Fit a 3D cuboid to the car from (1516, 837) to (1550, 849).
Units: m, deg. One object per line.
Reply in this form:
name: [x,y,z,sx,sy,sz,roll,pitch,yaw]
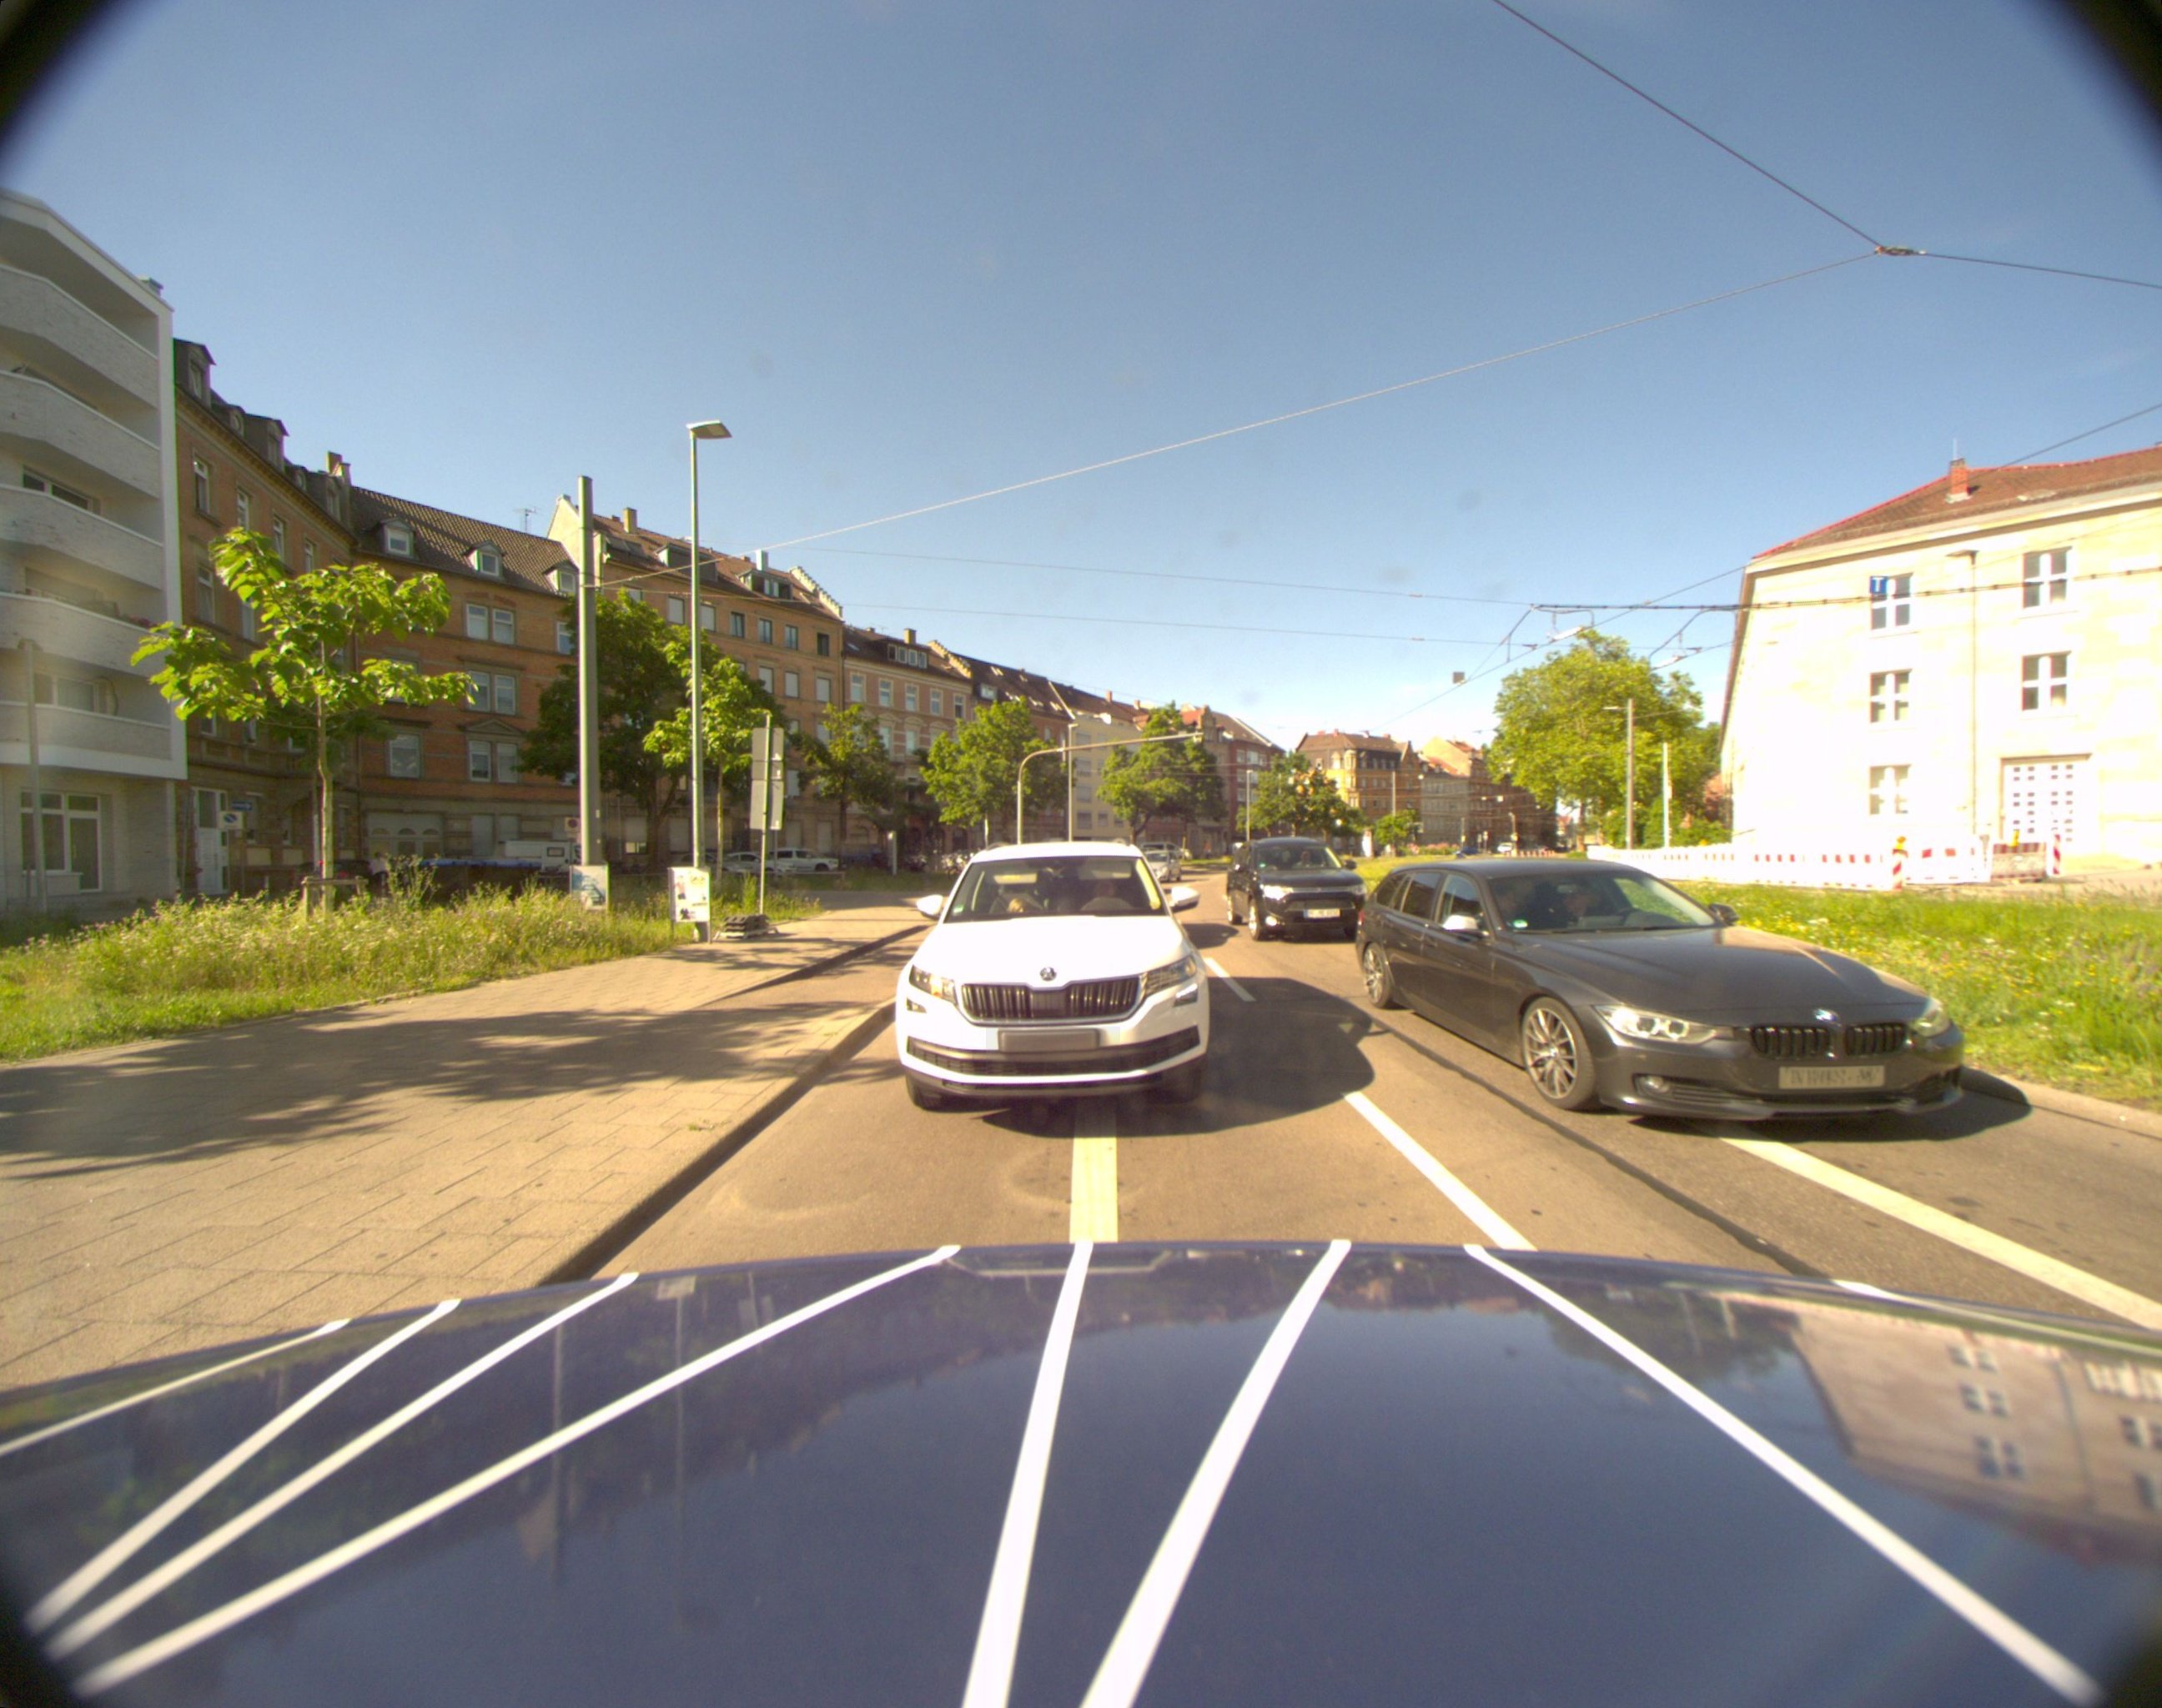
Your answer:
car: [64.134,-1.607,107.846,4.058,1.647,1.770,1,2,34]

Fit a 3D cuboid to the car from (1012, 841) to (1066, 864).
car: [-3.104,-0.135,56.102,3.825,1.698,1.682,0,1,3]

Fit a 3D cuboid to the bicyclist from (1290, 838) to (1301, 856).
bicyclist: [20.041,-0.666,70.984,0.629,1.619,0.973,0,1,36]

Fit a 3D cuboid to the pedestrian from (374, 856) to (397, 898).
pedestrian: [-24.715,0.813,27.018,0.509,1.448,0.481,-3,2,-38]

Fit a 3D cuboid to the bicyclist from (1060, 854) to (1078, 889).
bicyclist: [-0.495,0.717,31.721,0.668,1.428,0.940,-1,1,5]

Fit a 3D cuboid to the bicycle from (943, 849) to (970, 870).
bicycle: [-7.682,0.342,46.758,0.664,1.260,2.199,-3,1,-36]

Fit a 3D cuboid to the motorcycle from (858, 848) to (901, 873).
motorcycle: [-11.176,0.376,42.205,2.200,1.322,0.663,-2,1,13]

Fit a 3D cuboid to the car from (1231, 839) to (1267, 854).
car: [18.699,-0.819,84.655,3.823,1.581,1.600,0,1,6]

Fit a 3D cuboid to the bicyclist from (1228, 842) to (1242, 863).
bicyclist: [12.441,-0.111,61.349,0.714,1.715,1.096,1,1,39]

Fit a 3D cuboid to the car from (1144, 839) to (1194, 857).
car: [8.202,-0.587,70.606,4.578,1.658,1.600,0,1,7]

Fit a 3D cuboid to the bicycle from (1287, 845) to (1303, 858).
bicycle: [19.974,-0.247,70.906,0.636,1.190,2.158,0,1,36]

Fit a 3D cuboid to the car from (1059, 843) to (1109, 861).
car: [0.264,-0.158,61.162,3.823,1.398,1.600,0,1,6]

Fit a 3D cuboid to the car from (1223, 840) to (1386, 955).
car: [3.699,0.628,13.396,1.841,1.636,4.399,-2,0,5]

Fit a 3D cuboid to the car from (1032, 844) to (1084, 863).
car: [-1.772,-0.052,58.710,3.823,1.398,1.600,0,1,6]

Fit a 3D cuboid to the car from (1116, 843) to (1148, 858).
car: [5.473,-0.421,80.725,1.547,1.578,3.607,1,2,41]

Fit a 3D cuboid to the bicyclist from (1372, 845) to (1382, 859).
bicyclist: [34.196,-0.220,87.775,0.667,1.619,0.973,0,1,43]

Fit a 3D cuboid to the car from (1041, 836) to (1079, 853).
car: [-1.935,-0.941,71.663,1.547,1.578,3.607,1,2,41]

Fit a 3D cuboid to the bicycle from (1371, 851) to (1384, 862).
bicycle: [34.289,0.316,87.844,0.667,1.190,2.159,0,1,43]

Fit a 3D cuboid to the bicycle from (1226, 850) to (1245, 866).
bicycle: [12.507,0.324,61.401,0.714,1.319,1.753,1,1,39]

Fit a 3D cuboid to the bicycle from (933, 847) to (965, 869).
bicycle: [-7.726,0.242,44.516,0.664,1.260,2.198,-3,1,-45]

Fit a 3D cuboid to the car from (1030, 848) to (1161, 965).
car: [0.245,0.763,13.258,1.842,1.636,4.397,-2,0,1]

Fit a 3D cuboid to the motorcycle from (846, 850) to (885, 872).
motorcycle: [-12.937,0.417,45.623,2.314,1.276,0.664,-2,1,24]

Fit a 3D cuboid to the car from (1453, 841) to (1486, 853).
car: [59.494,-1.084,116.374,4.351,1.871,1.838,-1,1,-13]

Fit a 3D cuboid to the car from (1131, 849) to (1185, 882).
car: [3.912,0.525,38.004,1.837,1.543,4.153,0,1,18]

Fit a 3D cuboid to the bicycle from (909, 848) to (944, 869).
bicycle: [-9.507,0.281,46.710,2.198,1.260,0.664,-2,1,32]

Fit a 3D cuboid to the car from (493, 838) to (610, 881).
car: [-27.115,0.219,39.009,2.047,2.026,4.510,1,2,41]

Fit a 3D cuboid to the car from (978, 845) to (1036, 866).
car: [-5.224,0.089,53.963,3.822,1.398,1.683,0,1,9]

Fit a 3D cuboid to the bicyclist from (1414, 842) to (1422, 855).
bicyclist: [43.883,-0.659,98.956,0.734,1.685,0.973,0,1,44]

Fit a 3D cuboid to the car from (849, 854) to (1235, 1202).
car: [-0.227,0.857,5.947,1.842,1.636,4.397,-2,0,-1]

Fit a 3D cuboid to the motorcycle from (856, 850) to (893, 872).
motorcycle: [-12.599,0.403,46.403,2.199,1.260,0.664,-2,1,24]

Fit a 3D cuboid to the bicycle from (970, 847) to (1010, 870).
bicycle: [-5.473,0.269,45.737,2.207,1.260,0.662,-3,1,-25]

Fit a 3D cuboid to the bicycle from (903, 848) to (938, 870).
bicycle: [-9.704,0.296,46.007,2.198,1.260,0.664,-2,1,32]

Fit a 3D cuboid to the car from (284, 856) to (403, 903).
car: [-26.166,0.831,27.147,1.835,1.419,4.378,-1,1,-27]

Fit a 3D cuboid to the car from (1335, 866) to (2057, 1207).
car: [3.479,0.852,5.592,1.741,1.359,4.426,-2,0,1]

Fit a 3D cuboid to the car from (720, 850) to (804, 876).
car: [-16.404,0.442,39.104,3.696,1.244,1.683,0,1,13]

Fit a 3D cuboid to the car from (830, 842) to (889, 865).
car: [-15.607,-0.055,53.669,1.547,1.578,3.709,1,2,41]

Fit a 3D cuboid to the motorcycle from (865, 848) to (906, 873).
motorcycle: [-11.146,0.359,43.292,2.200,1.315,0.664,-2,1,18]

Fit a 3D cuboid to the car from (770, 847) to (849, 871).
car: [-14.678,0.258,41.193,3.700,1.244,1.540,0,1,2]

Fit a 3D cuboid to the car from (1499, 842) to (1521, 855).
car: [69.883,-0.882,123.812,1.977,2.074,4.723,1,2,44]

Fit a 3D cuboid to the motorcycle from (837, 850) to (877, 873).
motorcycle: [-13.286,0.440,45.018,2.314,1.270,0.664,-2,1,24]

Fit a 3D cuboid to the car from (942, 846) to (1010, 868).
car: [-7.040,0.177,51.293,4.322,1.398,1.682,0,1,3]

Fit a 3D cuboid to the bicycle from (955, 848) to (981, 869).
bicycle: [-7.119,0.310,47.752,0.664,1.260,2.199,-3,1,-36]

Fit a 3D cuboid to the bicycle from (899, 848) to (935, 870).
bicycle: [-9.740,0.308,45.069,2.198,1.260,0.664,-2,1,30]

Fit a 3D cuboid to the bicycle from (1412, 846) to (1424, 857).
bicycle: [43.925,-0.324,98.980,0.735,1.353,2.079,0,1,44]

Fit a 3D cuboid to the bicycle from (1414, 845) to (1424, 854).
bicycle: [45.390,-0.577,102.069,0.762,1.138,2.287,0,1,38]

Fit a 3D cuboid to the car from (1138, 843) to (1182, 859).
car: [7.130,-0.247,68.177,3.823,1.372,1.600,0,1,9]

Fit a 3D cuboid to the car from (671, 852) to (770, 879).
car: [-17.497,0.535,36.905,4.156,1.244,1.683,0,1,13]
